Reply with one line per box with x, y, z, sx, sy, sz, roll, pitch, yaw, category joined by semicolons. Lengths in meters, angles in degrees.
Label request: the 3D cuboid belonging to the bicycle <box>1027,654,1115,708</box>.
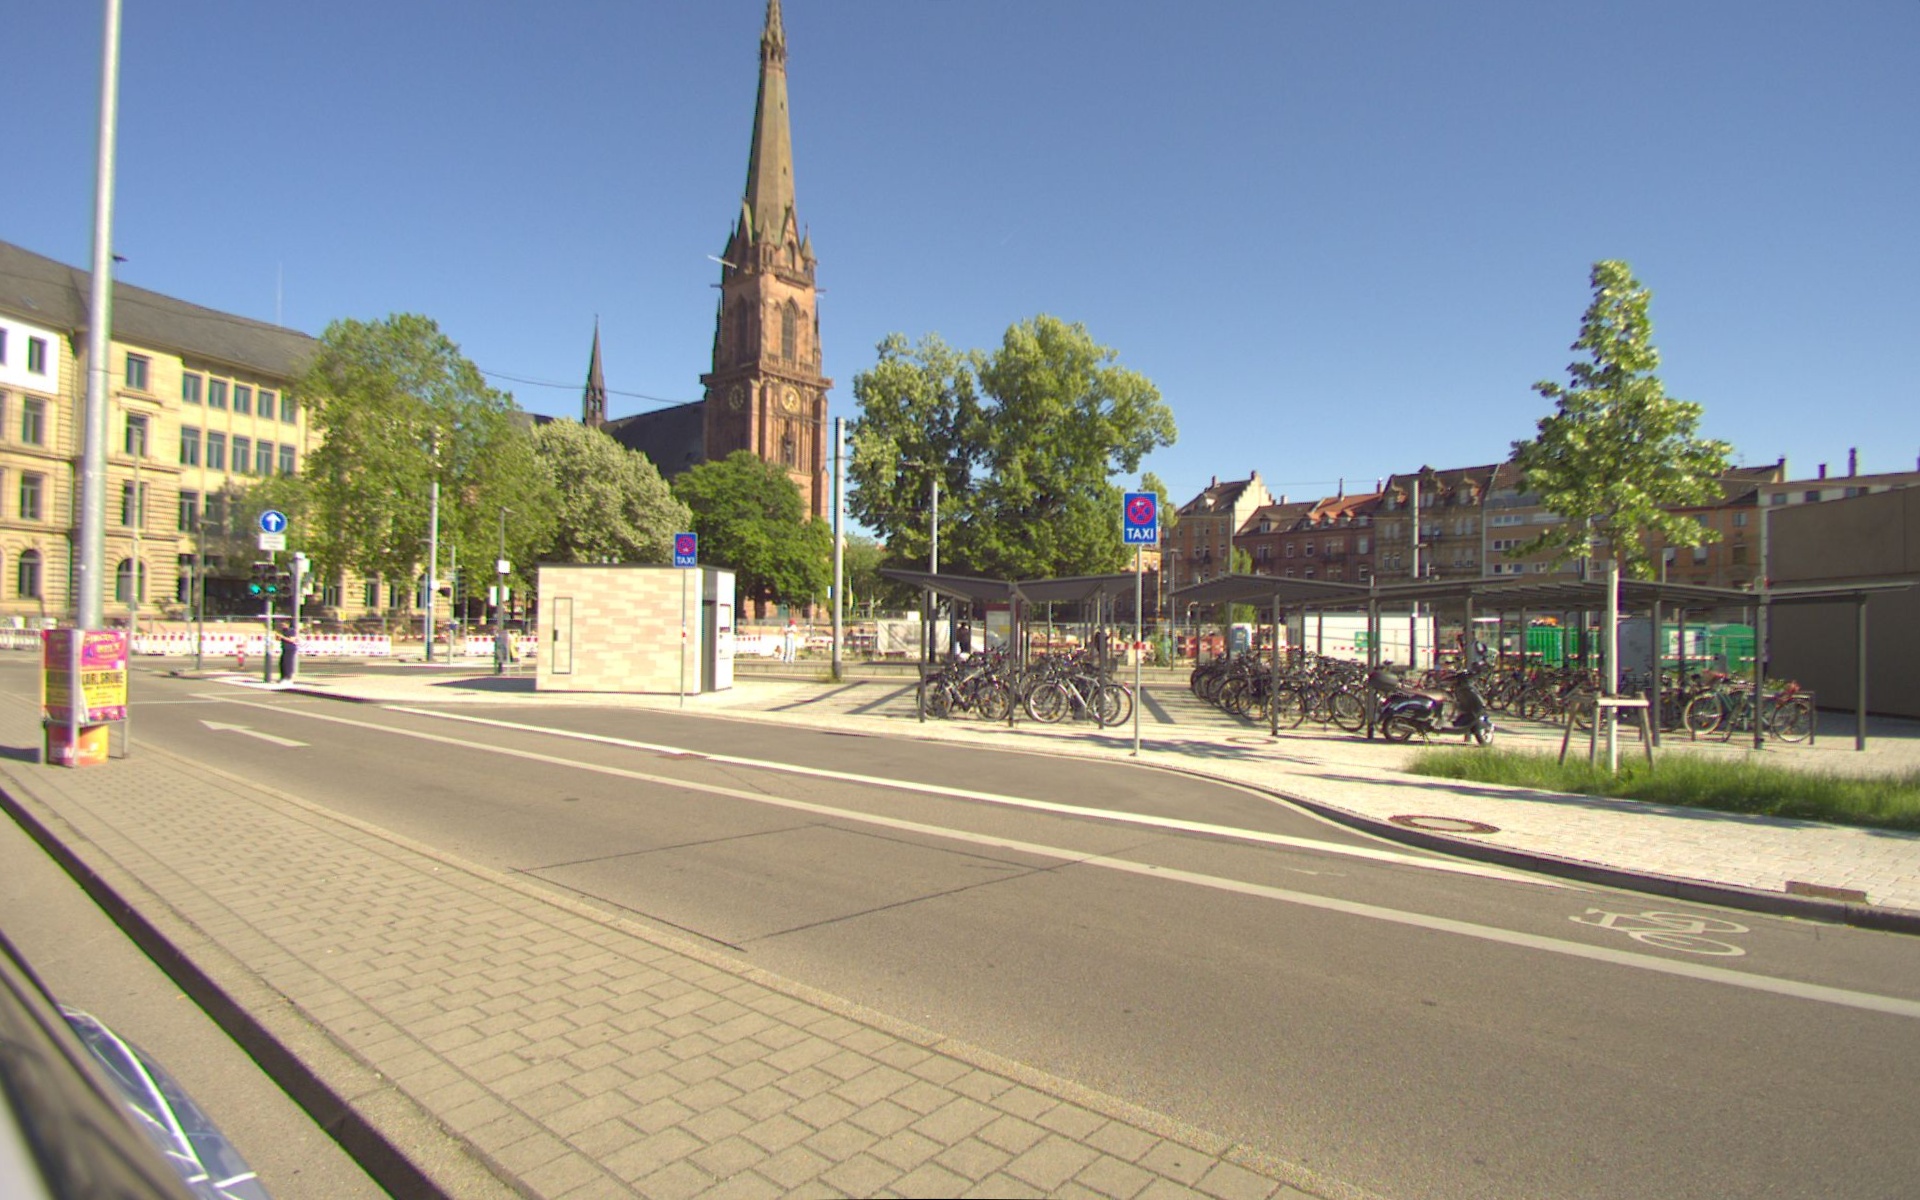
2.293;1.668;20.999;1.765;1.046;0.567;1;-3;4;bicycle

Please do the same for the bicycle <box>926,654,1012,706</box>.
0.206;1.684;21.401;1.765;1.046;0.567;1;-3;4;bicycle

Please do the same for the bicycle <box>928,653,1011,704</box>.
0.226;1.698;22.067;1.765;1.046;0.567;1;-3;4;bicycle

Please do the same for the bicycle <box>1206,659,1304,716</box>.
5.850;1.729;20.102;1.765;1.046;0.567;1;-3;4;bicycle

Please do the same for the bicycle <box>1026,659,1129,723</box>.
2.062;1.604;17.934;1.765;1.046;0.567;1;-3;4;bicycle

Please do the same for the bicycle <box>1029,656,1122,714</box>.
2.243;1.653;19.783;1.765;1.046;0.567;1;-3;4;bicycle

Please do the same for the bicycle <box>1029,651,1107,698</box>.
2.503;1.724;23.563;1.765;1.046;0.567;1;-3;4;bicycle

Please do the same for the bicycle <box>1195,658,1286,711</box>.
5.896;1.767;21.315;1.765;1.046;0.567;1;-3;4;bicycle

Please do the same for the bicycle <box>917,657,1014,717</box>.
0.116;1.602;18.850;1.765;1.046;0.567;1;-3;4;bicycle

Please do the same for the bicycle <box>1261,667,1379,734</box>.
6.014;1.673;16.958;1.765;1.046;0.567;1;-3;4;bicycle

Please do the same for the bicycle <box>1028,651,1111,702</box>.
2.384;1.672;22.238;1.765;1.046;0.567;1;-3;4;bicycle

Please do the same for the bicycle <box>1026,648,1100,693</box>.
2.520;1.715;24.822;1.765;1.046;0.567;1;-3;4;bicycle

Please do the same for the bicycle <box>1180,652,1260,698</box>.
6.217;1.792;24.269;1.765;1.046;0.567;1;-3;4;bicycle

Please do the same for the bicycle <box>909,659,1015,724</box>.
0.044;1.565;17.445;1.765;1.046;0.567;1;-3;4;bicycle

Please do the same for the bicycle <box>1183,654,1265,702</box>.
6.118;1.793;23.504;1.765;1.046;0.567;1;-3;4;bicycle

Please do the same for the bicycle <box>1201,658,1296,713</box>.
5.890;1.747;20.717;1.765;1.046;0.567;1;-3;4;bicycle

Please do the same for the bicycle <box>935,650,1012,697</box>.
0.327;1.729;23.856;1.765;1.046;0.567;1;-3;4;bicycle

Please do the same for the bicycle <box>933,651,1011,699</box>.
0.281;1.719;23.264;1.765;1.046;0.567;1;-3;4;bicycle

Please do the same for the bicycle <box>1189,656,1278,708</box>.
5.915;1.770;21.910;1.765;1.046;0.567;1;-3;4;bicycle

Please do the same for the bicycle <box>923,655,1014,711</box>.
0.171;1.638;20.169;1.765;1.046;0.567;1;-3;4;bicycle

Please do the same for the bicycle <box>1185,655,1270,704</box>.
6.009;1.776;22.780;1.765;1.046;0.567;1;-3;4;bicycle

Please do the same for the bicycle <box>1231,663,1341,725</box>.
5.830;1.675;18.141;1.765;1.046;0.567;1;-3;4;bicycle

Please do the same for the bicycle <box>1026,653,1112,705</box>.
2.321;1.673;21.638;1.765;1.046;0.567;1;-3;4;bicycle

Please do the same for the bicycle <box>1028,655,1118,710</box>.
2.262;1.648;20.398;1.765;1.046;0.567;1;-3;4;bicycle

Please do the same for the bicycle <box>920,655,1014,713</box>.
0.153;1.615;19.538;1.765;1.046;0.567;1;-3;4;bicycle

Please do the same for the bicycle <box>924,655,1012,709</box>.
0.178;1.670;20.785;1.765;1.046;0.567;1;-3;4;bicycle

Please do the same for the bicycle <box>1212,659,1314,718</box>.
5.798;1.691;19.430;1.765;1.046;0.567;1;-3;4;bicycle

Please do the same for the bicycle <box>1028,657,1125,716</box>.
2.194;1.634;19.184;1.765;1.046;0.567;1;-3;4;bicycle

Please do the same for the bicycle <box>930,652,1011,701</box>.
0.249;1.707;22.662;1.765;1.046;0.567;1;-3;4;bicycle

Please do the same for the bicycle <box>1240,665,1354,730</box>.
5.830;1.675;17.555;1.765;1.046;0.567;1;-3;4;bicycle

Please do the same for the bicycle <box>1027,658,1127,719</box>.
2.130;1.621;18.574;1.765;1.046;0.567;1;-3;4;bicycle

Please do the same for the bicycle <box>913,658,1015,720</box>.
0.081;1.580;18.096;1.765;1.046;0.567;1;-3;4;bicycle

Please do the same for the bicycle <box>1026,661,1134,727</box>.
2.033;1.600;17.284;1.765;1.046;0.567;1;-3;4;bicycle

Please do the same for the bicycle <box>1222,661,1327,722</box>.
5.832;1.692;18.799;1.765;1.046;0.567;1;-3;4;bicycle
